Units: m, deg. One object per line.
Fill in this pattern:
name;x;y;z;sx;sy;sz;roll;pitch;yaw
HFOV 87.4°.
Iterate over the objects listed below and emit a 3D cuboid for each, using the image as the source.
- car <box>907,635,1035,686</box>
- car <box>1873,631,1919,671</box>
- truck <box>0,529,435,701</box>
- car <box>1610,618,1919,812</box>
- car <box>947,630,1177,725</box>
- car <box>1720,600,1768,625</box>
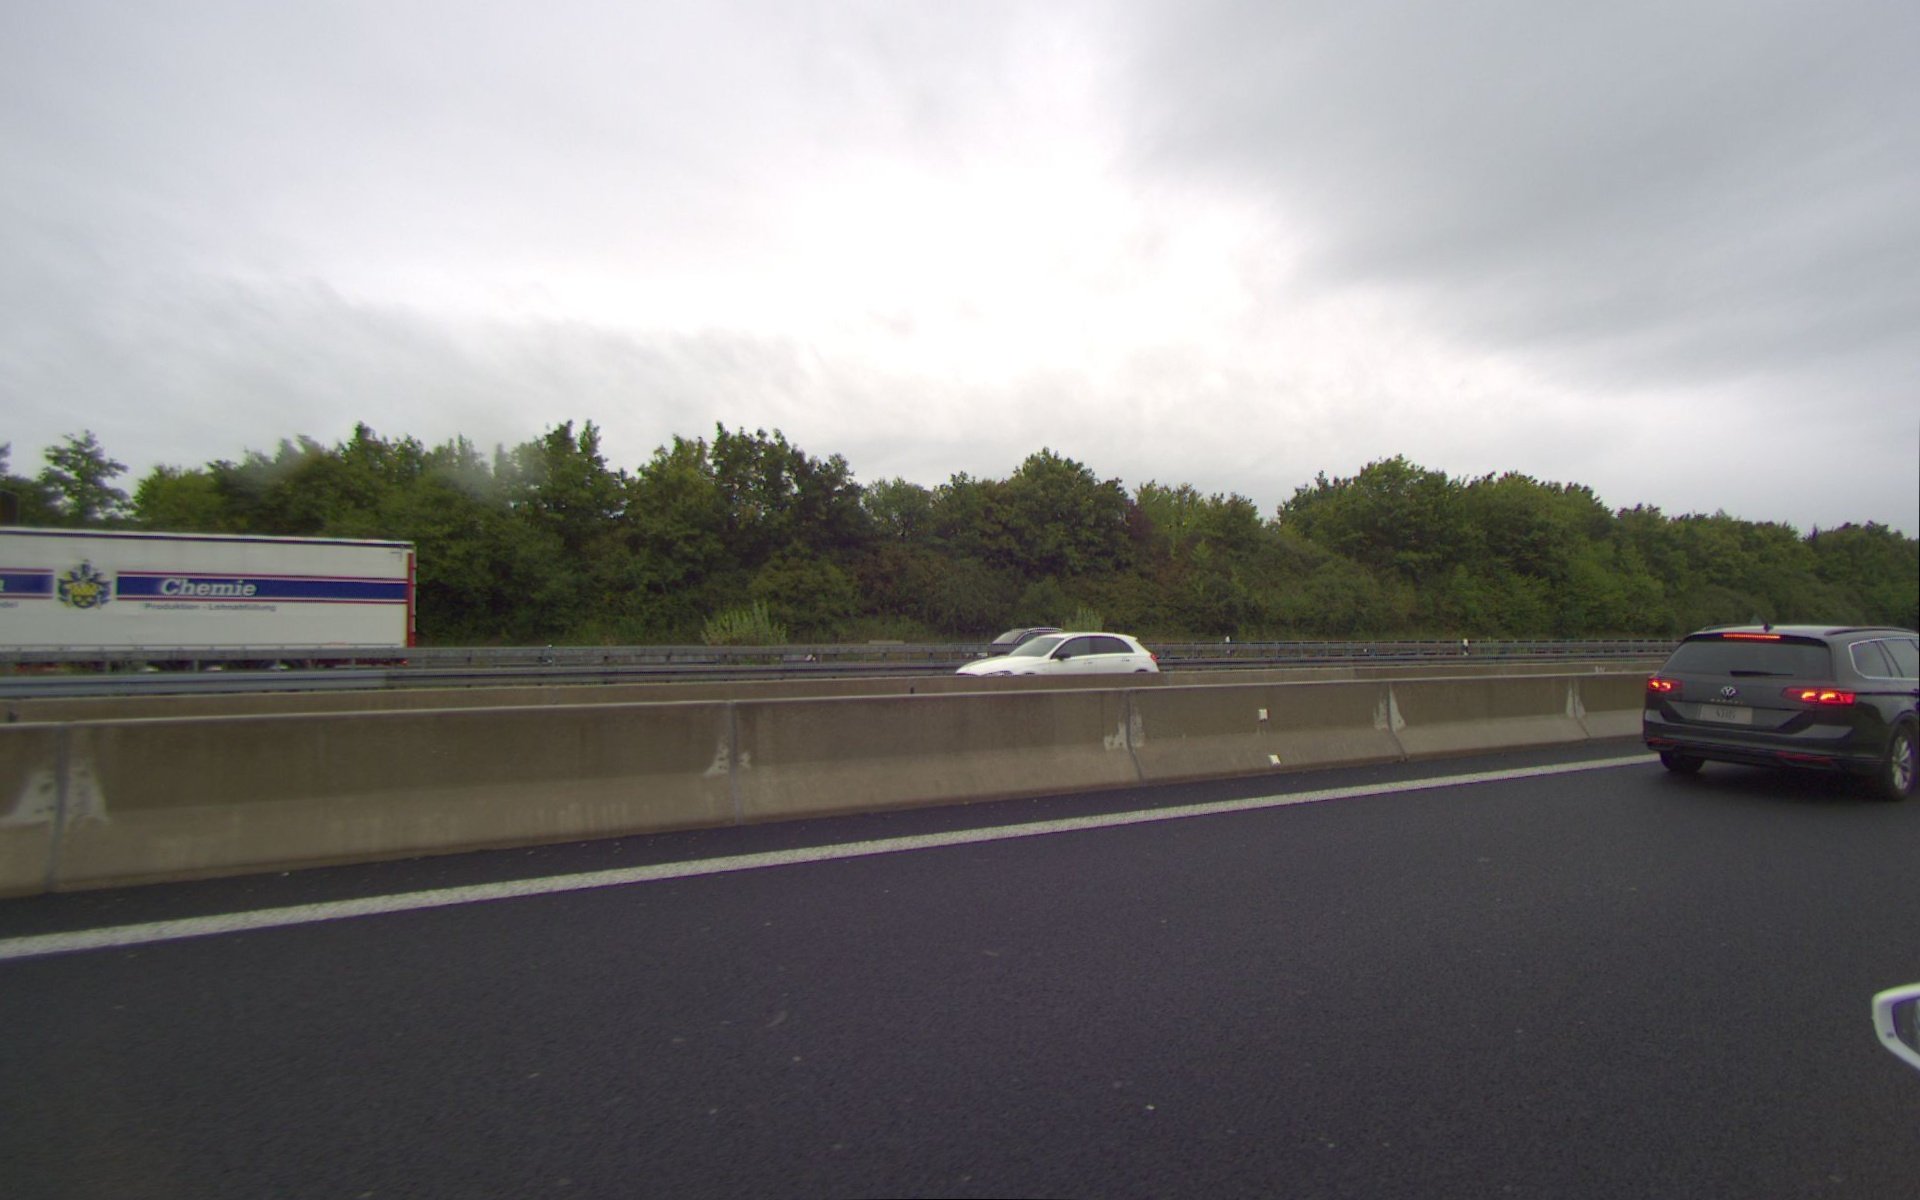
car;0.381;1.961;33.163;4.001;1.504;1.563;1;0;-31
car;40.487;2.141;42.352;4.530;1.573;1.715;1;0;-31
truck;-22.147;0.409;23.940;16.934;3.858;3.163;1;-3;-31
car;8.573;0.957;9.816;4.745;1.478;1.779;1;0;-30
car;2.070;1.474;20.127;4.263;1.684;1.984;1;-1;-31
car;64.374;1.042;82.430;3.952;2.040;1.742;1;-1;-29
